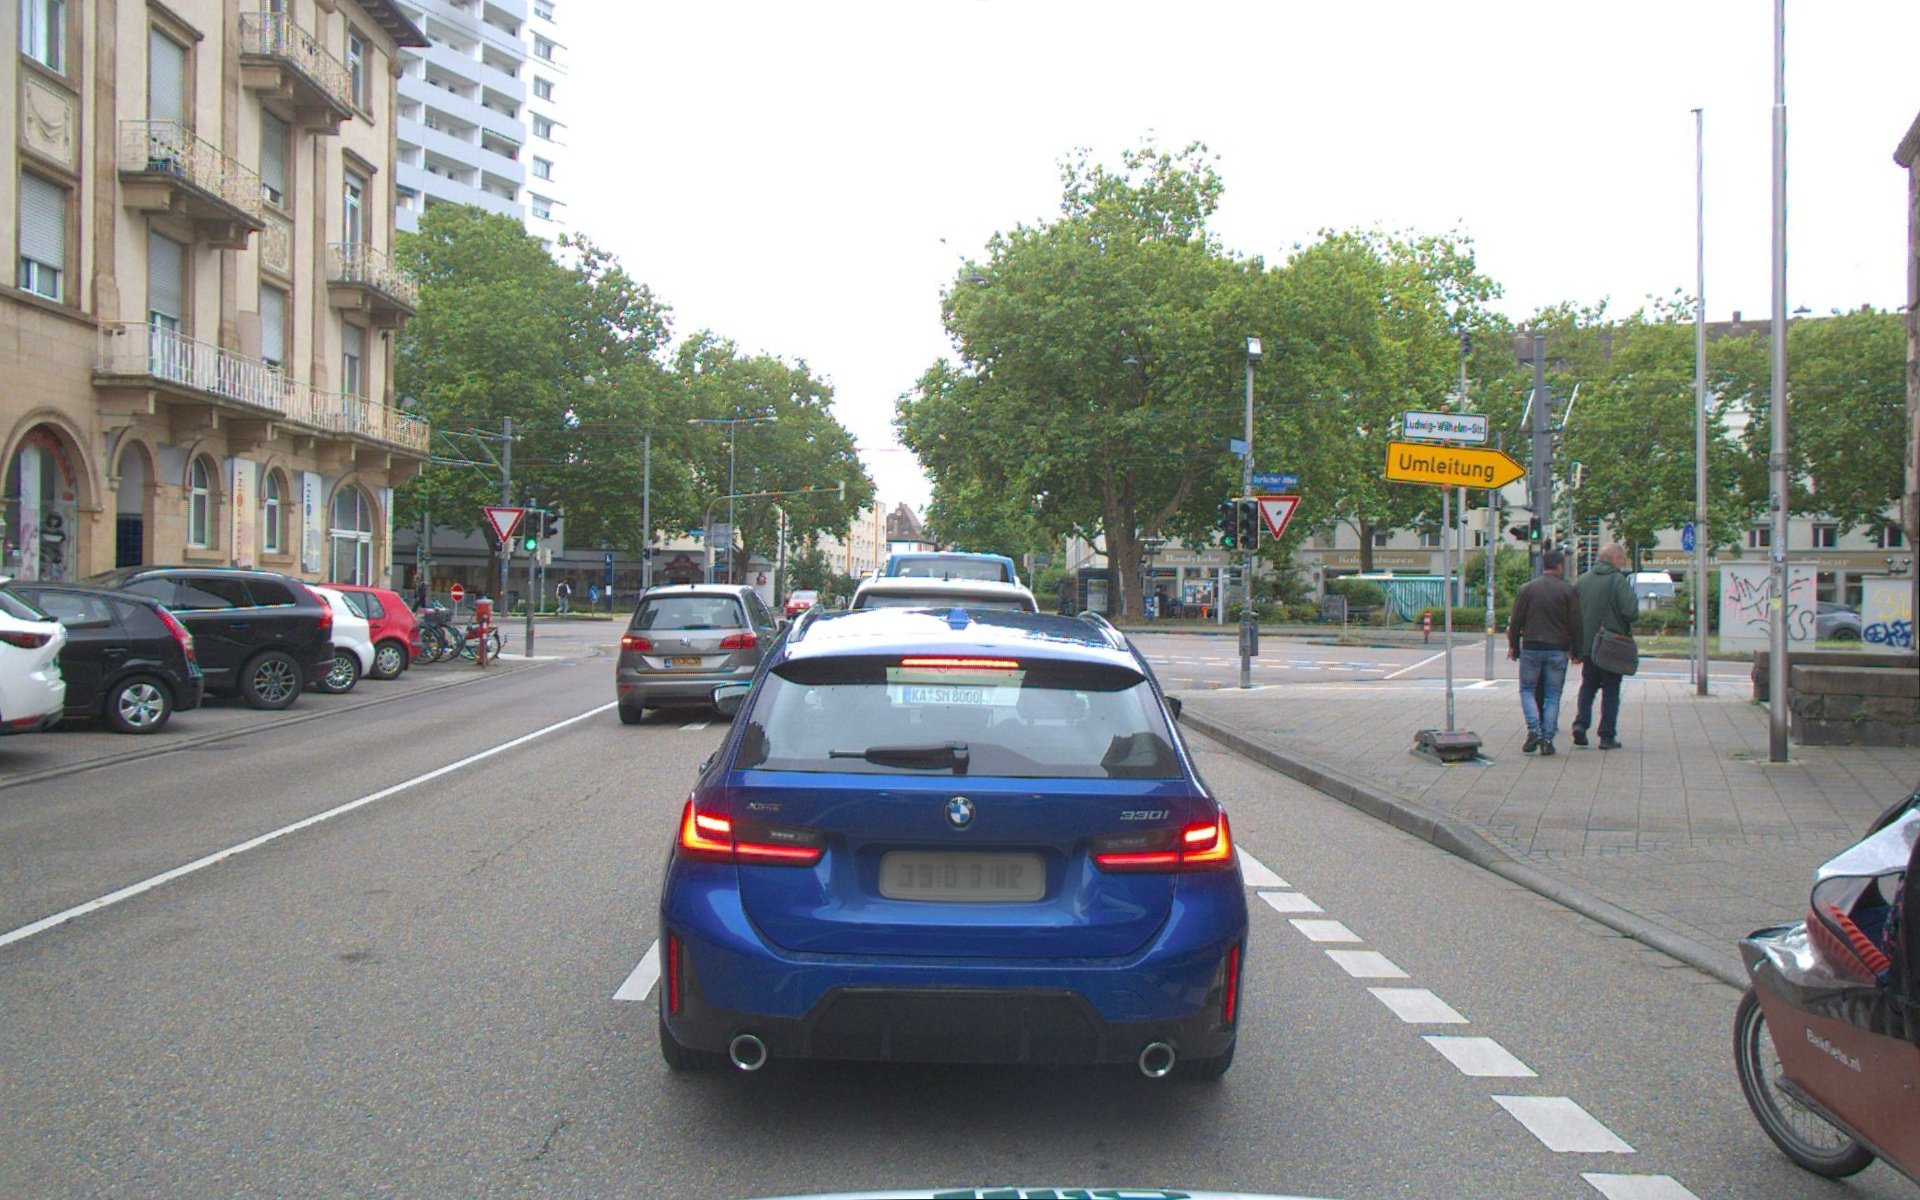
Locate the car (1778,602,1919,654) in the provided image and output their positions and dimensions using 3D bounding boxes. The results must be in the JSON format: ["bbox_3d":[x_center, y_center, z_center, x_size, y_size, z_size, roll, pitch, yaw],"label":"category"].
[{"bbox_3d":[28.419,0.866,52.948,3.895,1.589,1.687,0,0,22],"label":"car"}]

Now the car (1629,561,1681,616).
[{"bbox_3d":[34.972,-0.582,83.109,2.191,2.685,5.443,1,0,25],"label":"car"}]

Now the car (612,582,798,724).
[{"bbox_3d":[-2.998,0.565,20.177,1.697,1.551,3.999,0,0,-1],"label":"car"}]

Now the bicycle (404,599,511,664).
[{"bbox_3d":[-9.781,0.614,32.196,1.849,1.053,0.442,6,0,-3],"label":"bicycle"}]

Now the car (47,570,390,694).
[{"bbox_3d":[-10.073,0.468,22.660,3.968,1.498,1.540,3,0,-44],"label":"car"}]

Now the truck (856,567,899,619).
[{"bbox_3d":[-4.004,-0.348,80.859,2.033,2.450,5.460,0,1,-3],"label":"truck"}]

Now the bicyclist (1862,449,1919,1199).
[{"bbox_3d":[2.305,0.466,3.068,0.672,1.544,1.058,0,0,-1],"label":"bicyclist"}]

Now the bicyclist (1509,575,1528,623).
[{"bbox_3d":[19.890,-0.028,58.865,0.601,1.683,0.754,0,0,20],"label":"bicyclist"}]

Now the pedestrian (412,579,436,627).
[{"bbox_3d":[-20.351,0.096,62.779,0.661,1.802,0.726,0,0,-1],"label":"pedestrian"}]

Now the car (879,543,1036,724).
[{"bbox_3d":[-0.059,0.367,20.834,1.778,2.040,3.999,0,0,-1],"label":"car"}]

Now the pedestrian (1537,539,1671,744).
[{"bbox_3d":[5.853,0.361,15.087,0.788,1.789,0.969,-2,0,-1],"label":"pedestrian"}]

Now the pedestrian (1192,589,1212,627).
[{"bbox_3d":[11.580,0.372,79.106,0.768,1.774,0.925,0,0,-2],"label":"pedestrian"}]

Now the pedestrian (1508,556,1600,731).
[{"bbox_3d":[6.004,0.423,16.761,0.619,1.702,0.970,-2,0,6],"label":"pedestrian"}]

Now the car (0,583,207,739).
[{"bbox_3d":[-9.938,0.583,16.695,3.959,1.521,1.708,1,0,-39],"label":"car"}]

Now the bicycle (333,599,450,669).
[{"bbox_3d":[-10.229,0.605,29.808,1.849,1.053,0.442,6,0,-3],"label":"bicycle"}]

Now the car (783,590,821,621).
[{"bbox_3d":[-7.833,0.258,82.182,1.615,1.472,3.510,0,0,-1],"label":"car"}]

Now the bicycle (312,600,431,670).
[{"bbox_3d":[-10.304,0.607,28.991,1.848,1.053,0.442,5,0,2],"label":"bicycle"}]

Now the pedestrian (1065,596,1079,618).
[{"bbox_3d":[6.990,0.437,103.183,0.835,1.337,0.762,0,0,-1],"label":"pedestrian"}]

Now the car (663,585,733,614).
[{"bbox_3d":[-16.521,-0.051,104.302,3.953,1.736,1.976,1,0,-35],"label":"car"}]

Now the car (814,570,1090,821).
[{"bbox_3d":[-0.078,0.607,12.711,1.778,1.620,3.999,0,0,-1],"label":"car"}]

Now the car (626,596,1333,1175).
[{"bbox_3d":[0.022,0.718,6.335,1.778,1.430,4.319,0,0,-1],"label":"car"}]

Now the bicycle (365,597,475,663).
[{"bbox_3d":[-10.324,0.573,31.640,1.849,1.053,0.442,6,0,-3],"label":"bicycle"}]

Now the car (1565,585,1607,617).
[{"bbox_3d":[30.853,0.049,81.489,1.632,1.542,3.935,1,0,25],"label":"car"}]

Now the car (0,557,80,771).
[{"bbox_3d":[-9.599,0.486,13.698,3.937,1.754,1.826,1,0,-26],"label":"car"}]

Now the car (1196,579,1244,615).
[{"bbox_3d":[16.951,-0.201,107.658,2.130,2.239,3.999,0,0,23],"label":"car"}]

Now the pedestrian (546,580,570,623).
[{"bbox_3d":[-16.921,0.048,69.689,0.664,1.802,0.722,1,0,41],"label":"pedestrian"}]

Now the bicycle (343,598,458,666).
[{"bbox_3d":[-10.251,0.584,30.344,1.849,1.053,0.442,6,0,-3],"label":"bicycle"}]

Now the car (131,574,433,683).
[{"bbox_3d":[-10.363,0.434,25.514,1.653,1.498,3.978,3,1,40],"label":"car"}]

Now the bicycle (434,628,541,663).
[{"bbox_3d":[-9.478,0.913,33.241,1.849,0.453,1.028,6,2,-3],"label":"bicycle"}]

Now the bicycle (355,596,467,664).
[{"bbox_3d":[-10.279,0.559,31.005,1.849,1.053,0.442,6,0,-3],"label":"bicycle"}]

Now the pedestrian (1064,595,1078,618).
[{"bbox_3d":[6.992,0.402,104.120,0.801,1.396,0.762,0,0,-1],"label":"pedestrian"}]

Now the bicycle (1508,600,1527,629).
[{"bbox_3d":[19.846,0.500,58.829,0.540,1.013,2.061,0,0,21],"label":"bicycle"}]

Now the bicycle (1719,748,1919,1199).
[{"bbox_3d":[2.217,0.951,3.200,0.484,1.117,2.138,0,0,-1],"label":"bicycle"}]

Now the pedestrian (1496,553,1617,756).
[{"bbox_3d":[5.248,0.461,14.601,0.660,1.715,0.969,-2,0,-1],"label":"pedestrian"}]

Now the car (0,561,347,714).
[{"bbox_3d":[-9.831,0.429,20.024,4.192,1.680,1.704,1,0,-44],"label":"car"}]
